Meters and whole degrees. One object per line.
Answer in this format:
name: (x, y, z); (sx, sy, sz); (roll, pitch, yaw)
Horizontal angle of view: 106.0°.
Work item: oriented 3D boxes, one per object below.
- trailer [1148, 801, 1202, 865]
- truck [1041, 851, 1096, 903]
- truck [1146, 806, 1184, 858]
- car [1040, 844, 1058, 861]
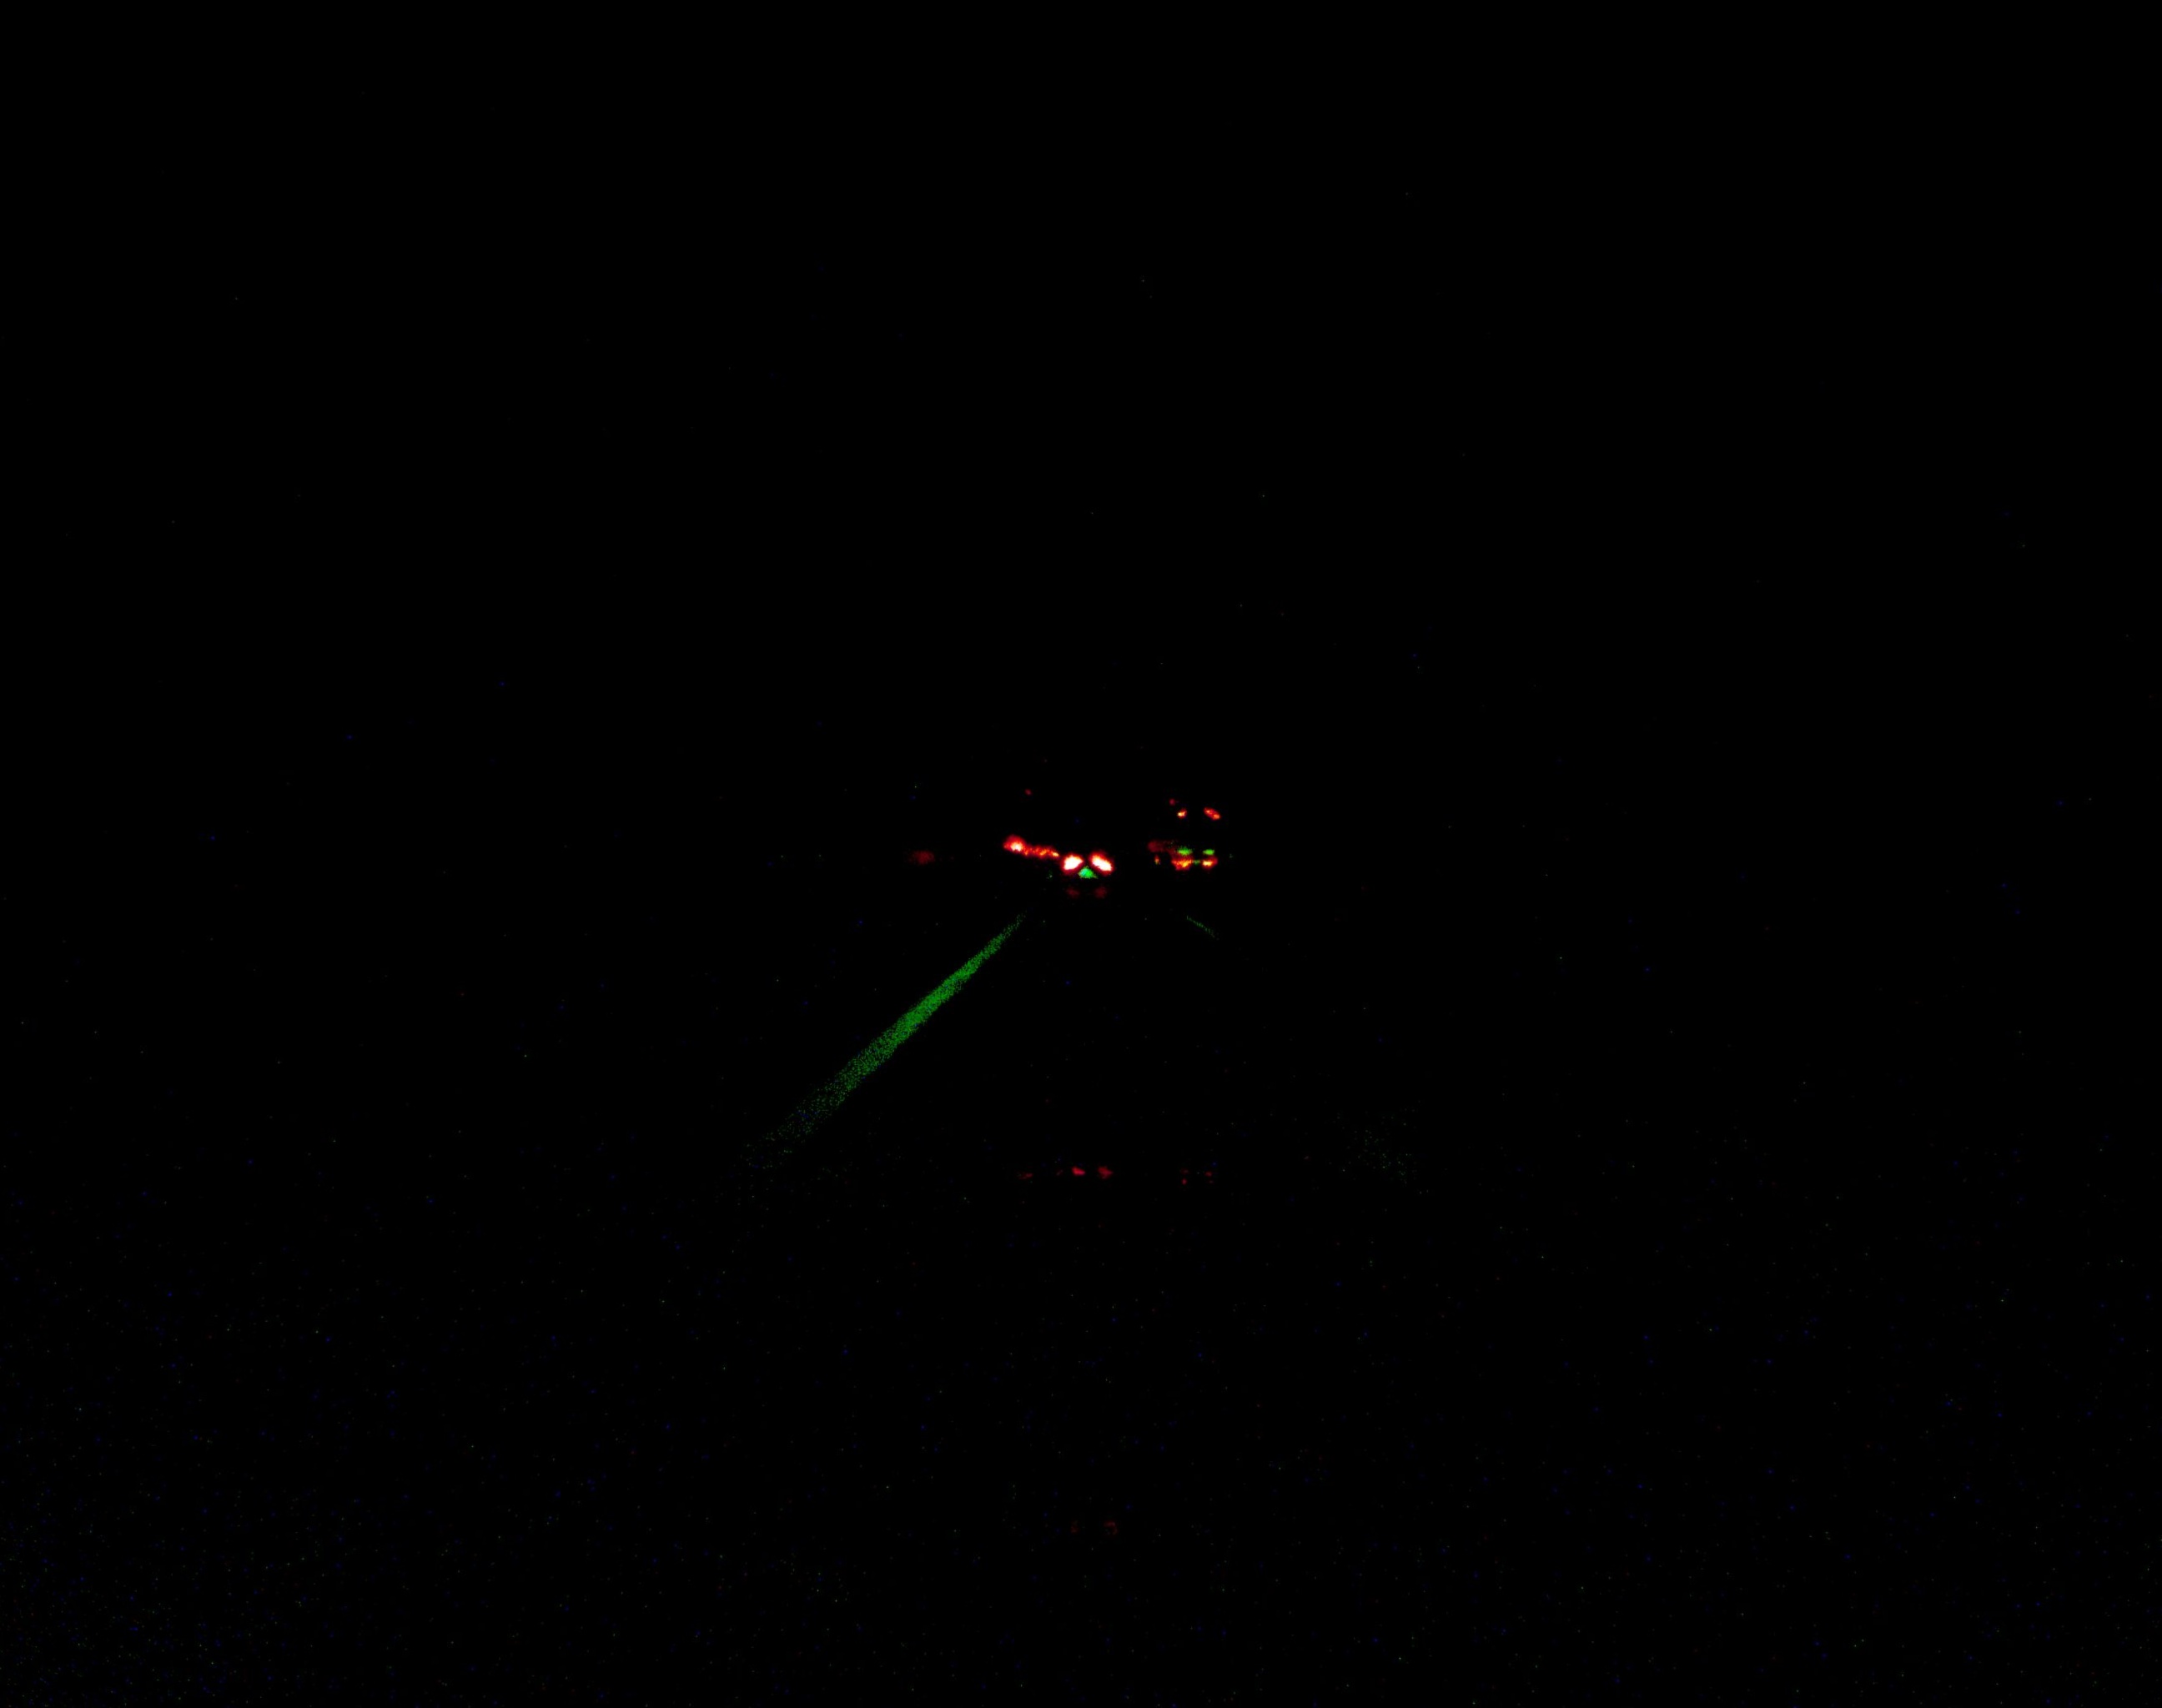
trailer: (6.944, -1.520, 62.059); (2.729, 4.247, 13.375); (-2, 1, 1)
truck: (-0.475, 0.996, 39.492); (2.136, 2.077, 6.608); (4, 1, 2)
truck: (7.033, -1.803, 68.688); (2.701, 4.241, 5.294); (0, 0, 1)
car: (-3.904, -0.165, 98.637); (1.991, 2.014, 3.992); (-1, -1, -5)
